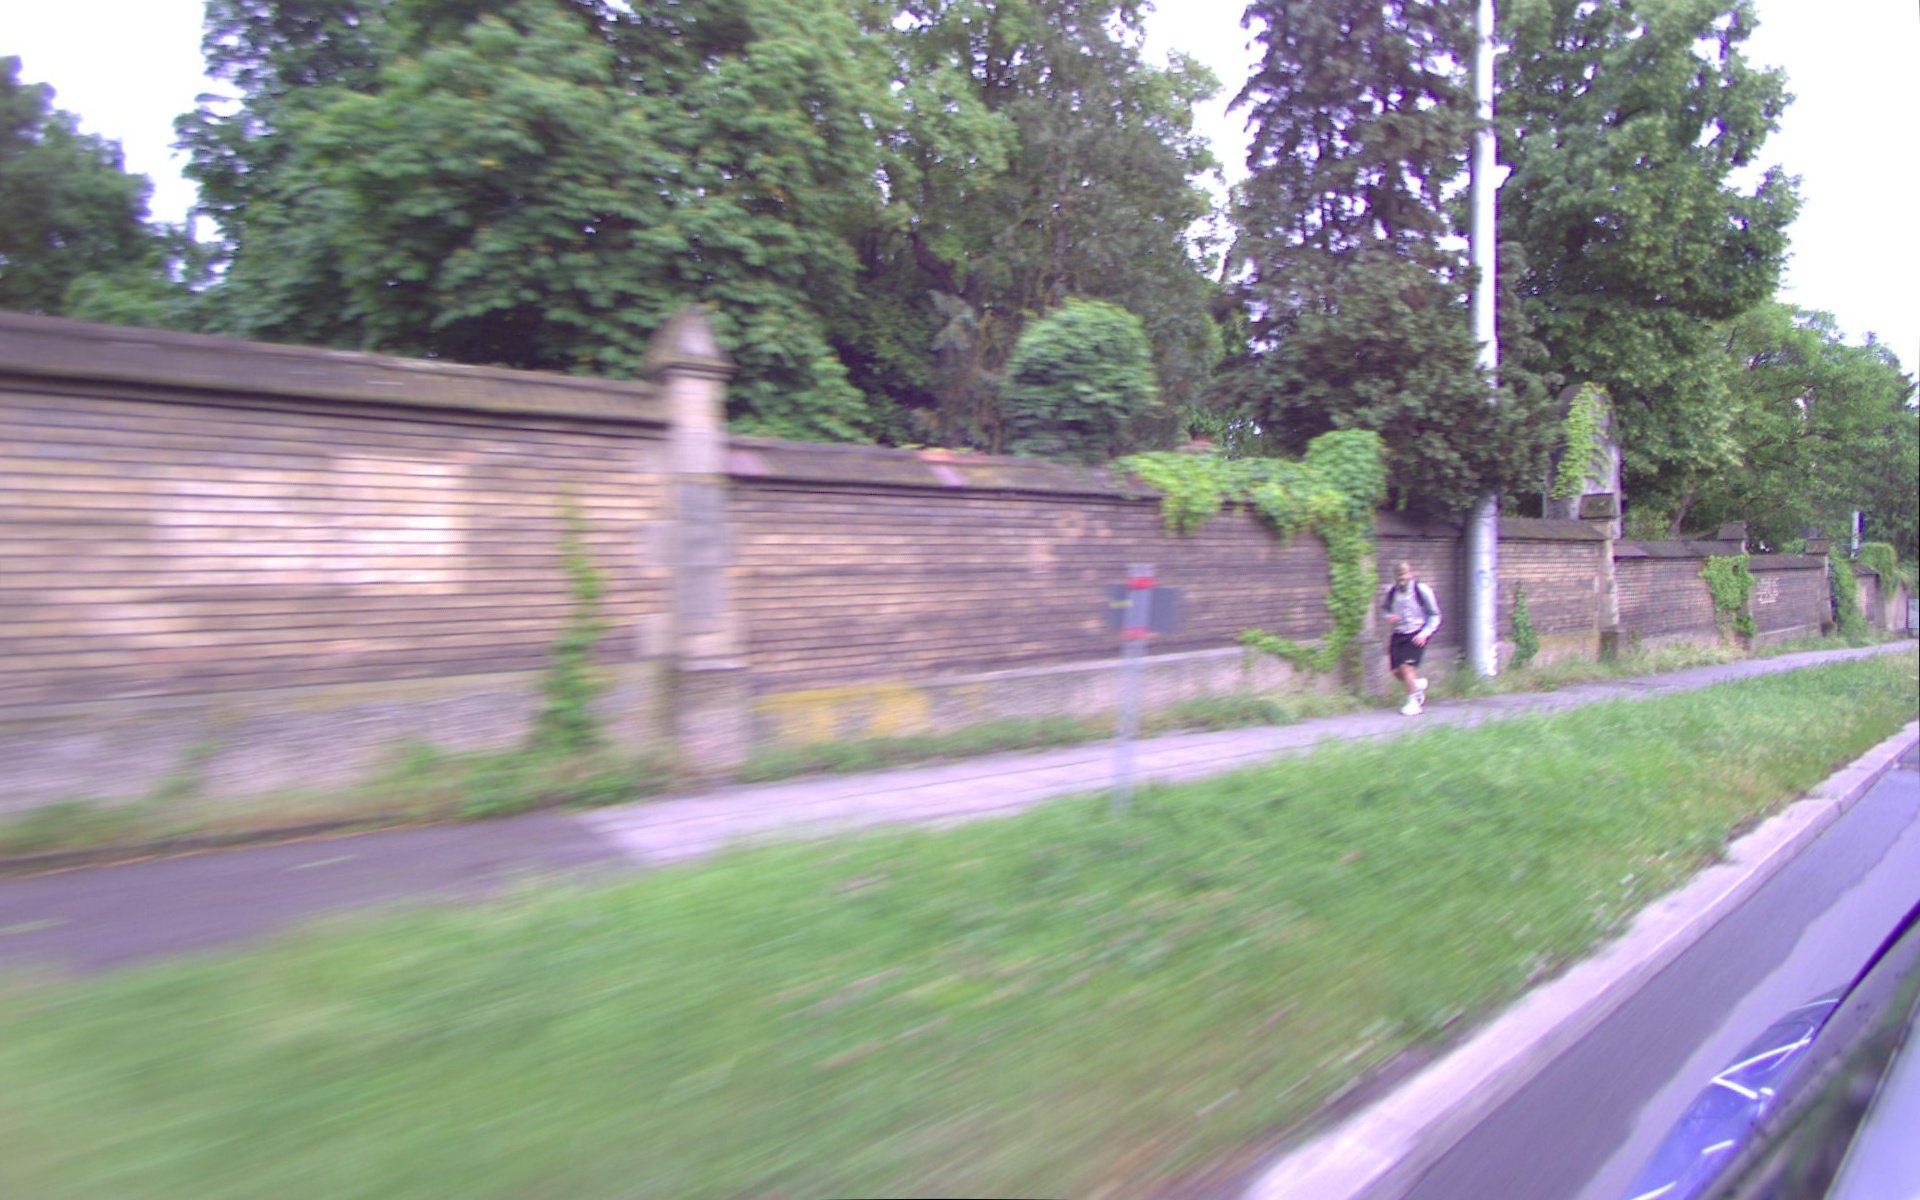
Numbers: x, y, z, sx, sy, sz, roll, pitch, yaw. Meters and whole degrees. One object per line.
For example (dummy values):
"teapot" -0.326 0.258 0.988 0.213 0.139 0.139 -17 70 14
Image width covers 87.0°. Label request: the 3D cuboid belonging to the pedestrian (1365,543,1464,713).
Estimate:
"pedestrian" 5.092 0.295 11.337 0.885 1.802 0.709 1 0 -42
